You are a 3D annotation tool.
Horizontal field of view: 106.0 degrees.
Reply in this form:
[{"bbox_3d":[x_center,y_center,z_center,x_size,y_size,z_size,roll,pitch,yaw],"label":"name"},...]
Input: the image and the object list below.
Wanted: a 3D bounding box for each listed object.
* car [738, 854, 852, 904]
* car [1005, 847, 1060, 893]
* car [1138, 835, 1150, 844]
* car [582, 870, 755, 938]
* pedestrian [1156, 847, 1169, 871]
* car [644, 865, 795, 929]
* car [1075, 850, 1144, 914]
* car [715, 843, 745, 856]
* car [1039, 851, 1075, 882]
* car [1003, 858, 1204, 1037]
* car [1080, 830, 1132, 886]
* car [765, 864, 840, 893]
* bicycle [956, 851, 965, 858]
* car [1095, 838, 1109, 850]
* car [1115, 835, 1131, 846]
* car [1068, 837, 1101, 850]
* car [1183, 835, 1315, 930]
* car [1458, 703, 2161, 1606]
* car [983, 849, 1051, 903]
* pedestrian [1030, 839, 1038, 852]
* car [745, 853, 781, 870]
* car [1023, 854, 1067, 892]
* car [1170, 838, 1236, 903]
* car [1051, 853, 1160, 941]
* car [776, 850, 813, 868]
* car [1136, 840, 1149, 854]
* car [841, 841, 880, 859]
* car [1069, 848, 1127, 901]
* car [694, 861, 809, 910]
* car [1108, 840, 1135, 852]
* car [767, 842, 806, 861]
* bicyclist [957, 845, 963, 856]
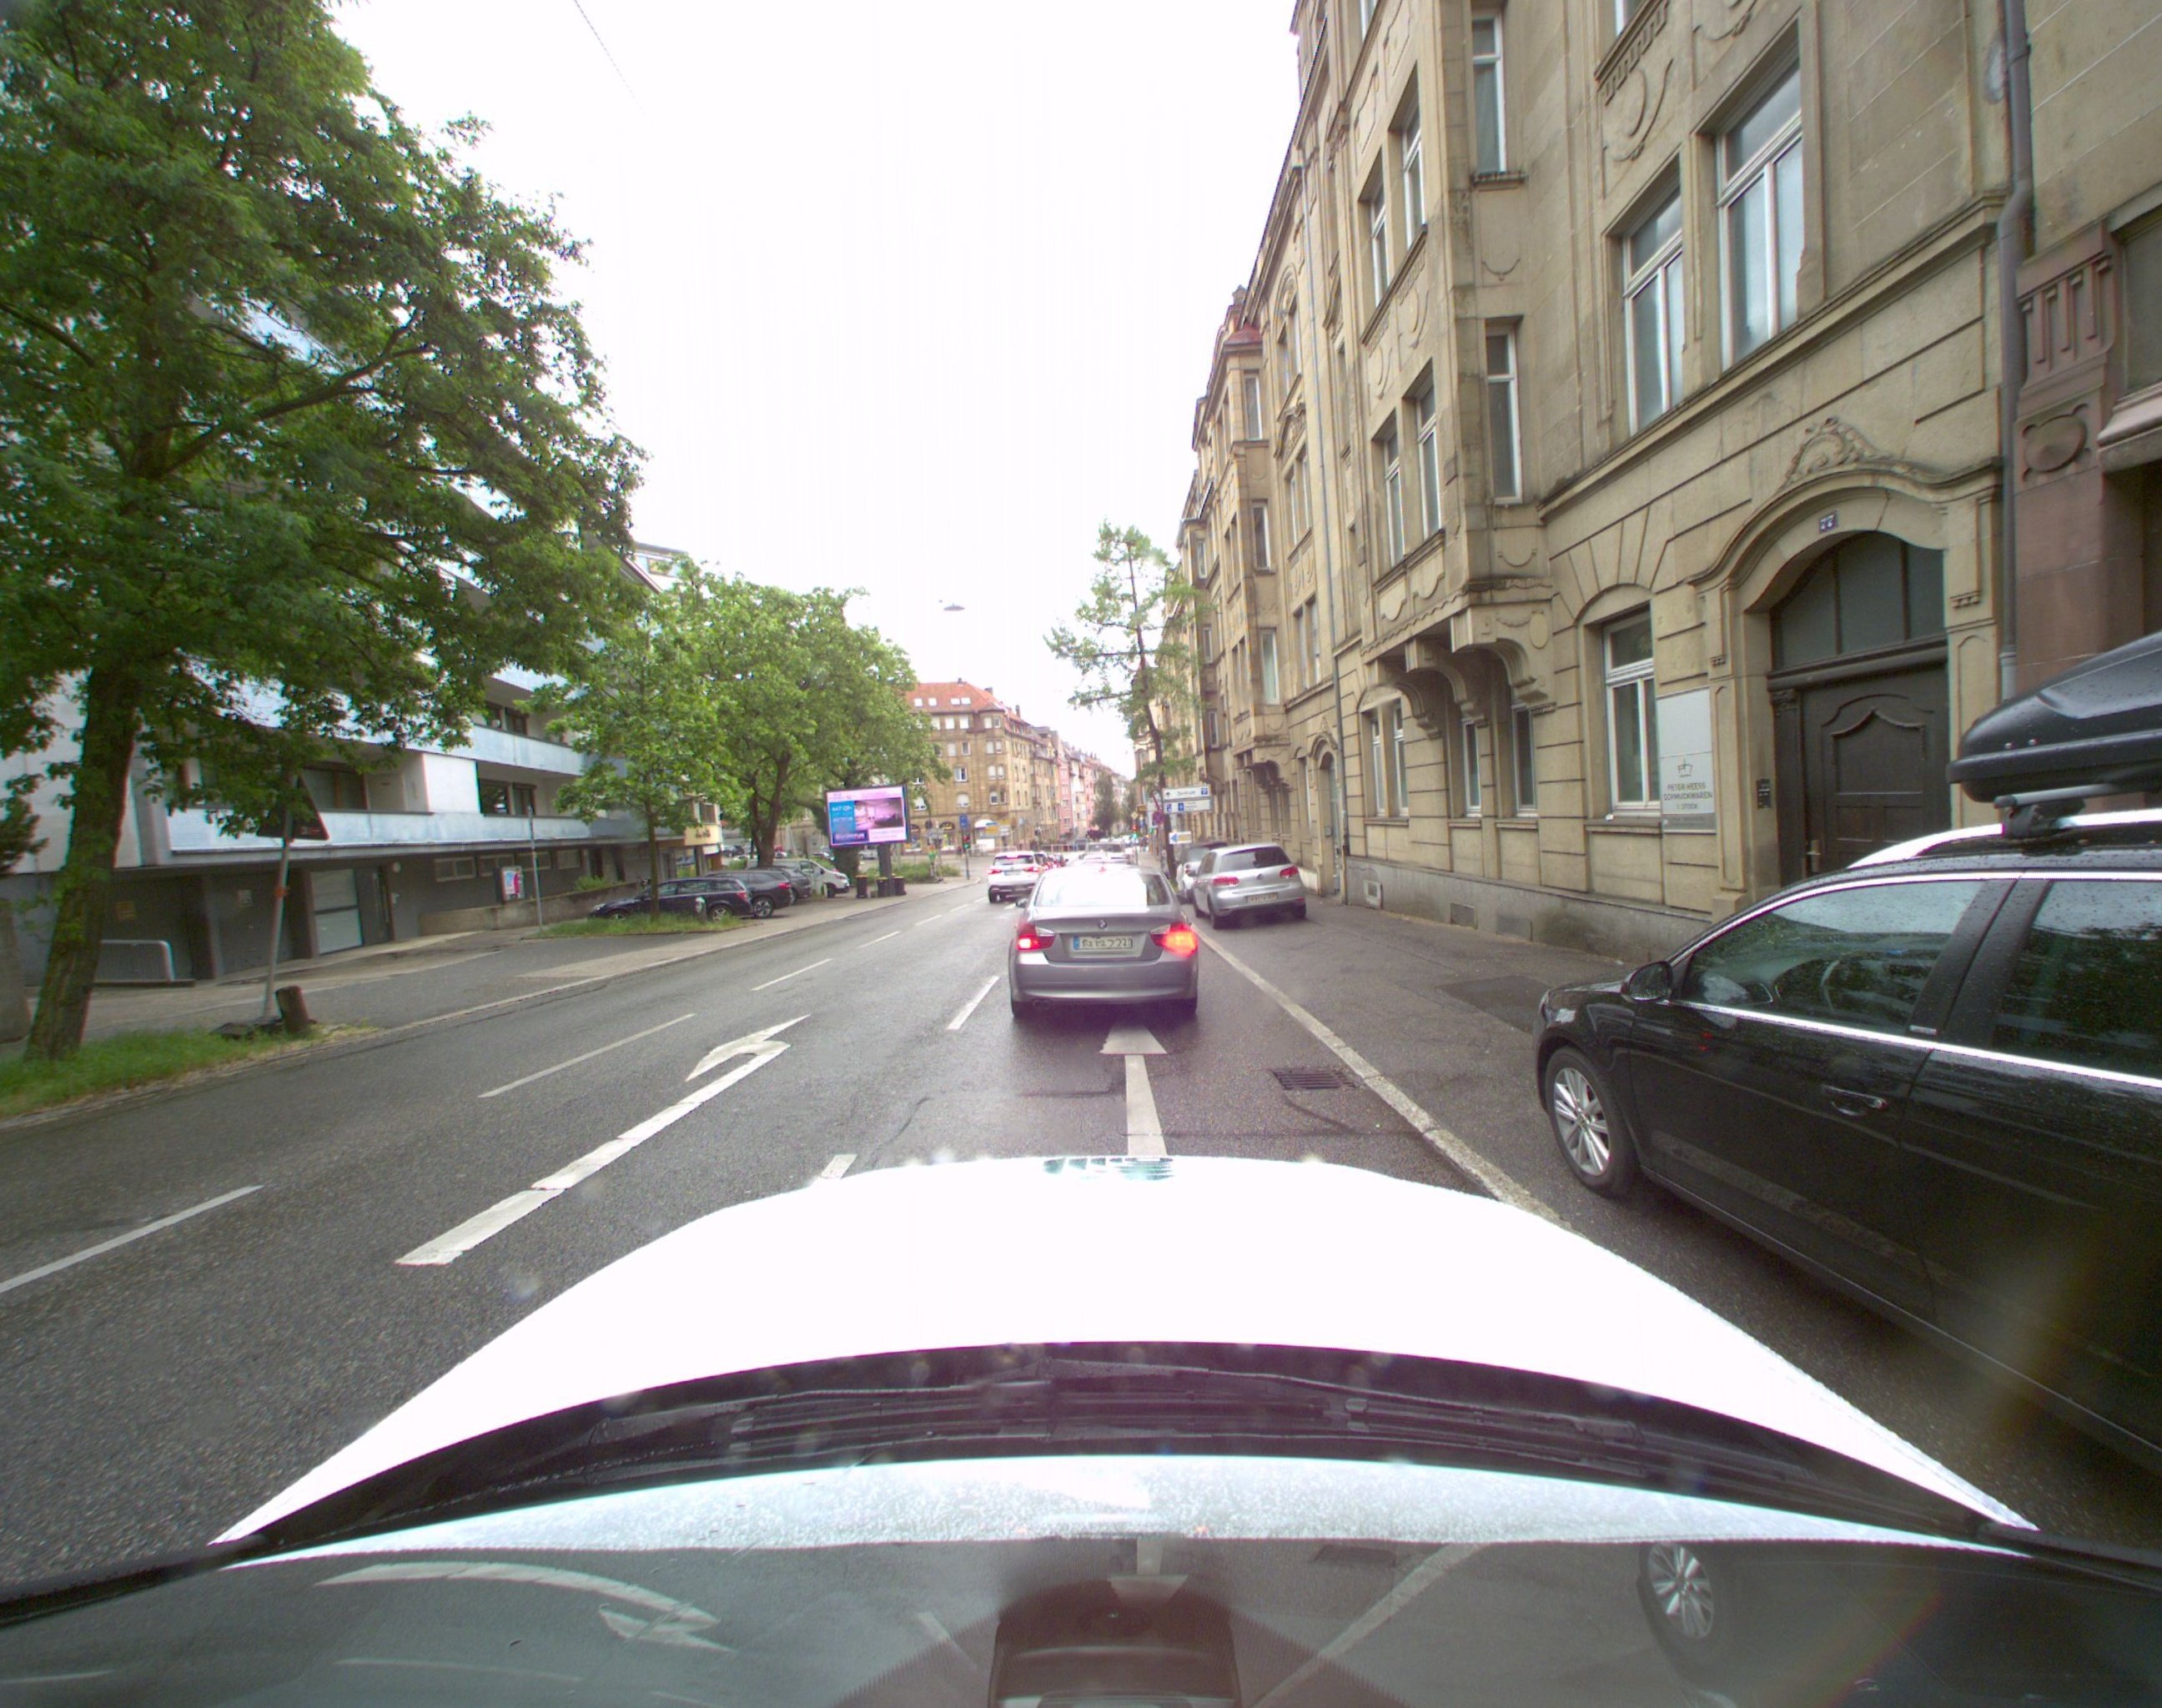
[{"bbox_3d":[-13.958,1.172,39.933,5.076,2.105,1.979,-3,0,-19],"label":"car"},{"bbox_3d":[-1.941,0.601,33.440,1.752,1.707,4.003,-2,0,3],"label":"car"},{"bbox_3d":[8.984,-2.050,116.213,1.429,1.174,3.435,0,0,1],"label":"car"},{"bbox_3d":[-12.247,1.433,24.548,4.373,1.574,1.930,-4,0,-21],"label":"car"},{"bbox_3d":[5.309,0.335,53.057,0.629,1.508,0.693,-7,0,1],"label":"pedestrian"},{"bbox_3d":[-11.981,1.380,27.284,4.382,1.672,1.842,-4,0,-21],"label":"car"},{"bbox_3d":[0.771,0.644,20.900,1.588,1.464,4.003,-1,0,3],"label":"car"},{"bbox_3d":[-46.996,-0.568,109.028,3.949,1.689,1.738,-1,-1,29],"label":"car"},{"bbox_3d":[-1.366,0.703,48.512,1.752,1.707,4.003,-2,0,3],"label":"car"},{"bbox_3d":[0.278,0.783,8.539,1.617,1.383,3.618,-2,0,3],"label":"car"},{"bbox_3d":[1.029,0.149,33.613,1.986,2.106,4.002,-2,0,2],"label":"car"},{"bbox_3d":[-16.191,1.419,47.389,3.985,1.450,1.758,-3,0,-19],"label":"car"},{"bbox_3d":[-14.389,0.039,96.969,0.569,0.858,1.527,-1,-1,12],"label":"bicycle"},{"bbox_3d":[2.744,-1.280,104.982,1.709,1.450,3.743,-3,0,1],"label":"car"},{"bbox_3d":[6.261,-2.016,120.673,1.983,1.578,4.008,0,-1,7],"label":"car"},{"bbox_3d":[0.639,-1.682,130.086,5.158,2.014,2.699,0,-1,1],"label":"car"},{"bbox_3d":[3.208,0.495,16.337,1.753,1.451,4.001,-7,0,1],"label":"car"},{"bbox_3d":[2.783,0.450,2.033,1.753,1.651,4.101,-7,0,2],"label":"car"},{"bbox_3d":[-2.104,0.691,27.948,1.861,1.625,4.001,-2,0,1],"label":"car"},{"bbox_3d":[-5.855,-1.095,101.728,0.727,1.577,0.530,-3,0,10],"label":"pedestrian"},{"bbox_3d":[-41.270,1.005,105.689,4.238,2.101,2.013,0,2,30],"label":"car"},{"bbox_3d":[-1.744,0.909,40.657,1.752,1.707,4.003,-2,0,3],"label":"car"},{"bbox_3d":[3.339,0.422,22.700,1.295,1.543,2.977,-7,0,1],"label":"car"},{"bbox_3d":[0.503,0.707,15.460,1.752,1.383,4.003,-2,0,3],"label":"car"},{"bbox_3d":[-36.245,0.639,103.024,4.238,2.101,2.013,0,2,30],"label":"car"},{"bbox_3d":[9.474,-1.077,124.781,1.679,2.013,4.002,-4,0,2],"label":"car"},{"bbox_3d":[-26.414,-0.499,97.470,4.238,2.101,2.013,0,2,30],"label":"car"},{"bbox_3d":[0.633,0.630,27.481,1.752,1.567,4.003,-2,0,3],"label":"car"},{"bbox_3d":[-13.927,1.316,34.717,4.370,1.784,1.927,-3,0,-19],"label":"car"},{"bbox_3d":[5.723,-1.086,114.057,1.974,1.578,4.025,-1,-1,34],"label":"car"},{"bbox_3d":[-35.589,-0.305,98.375,3.954,2.013,2.010,-4,0,18],"label":"car"},{"bbox_3d":[-14.410,-0.385,96.942,0.565,1.273,0.692,-1,-1,14],"label":"bicyclist"}]
